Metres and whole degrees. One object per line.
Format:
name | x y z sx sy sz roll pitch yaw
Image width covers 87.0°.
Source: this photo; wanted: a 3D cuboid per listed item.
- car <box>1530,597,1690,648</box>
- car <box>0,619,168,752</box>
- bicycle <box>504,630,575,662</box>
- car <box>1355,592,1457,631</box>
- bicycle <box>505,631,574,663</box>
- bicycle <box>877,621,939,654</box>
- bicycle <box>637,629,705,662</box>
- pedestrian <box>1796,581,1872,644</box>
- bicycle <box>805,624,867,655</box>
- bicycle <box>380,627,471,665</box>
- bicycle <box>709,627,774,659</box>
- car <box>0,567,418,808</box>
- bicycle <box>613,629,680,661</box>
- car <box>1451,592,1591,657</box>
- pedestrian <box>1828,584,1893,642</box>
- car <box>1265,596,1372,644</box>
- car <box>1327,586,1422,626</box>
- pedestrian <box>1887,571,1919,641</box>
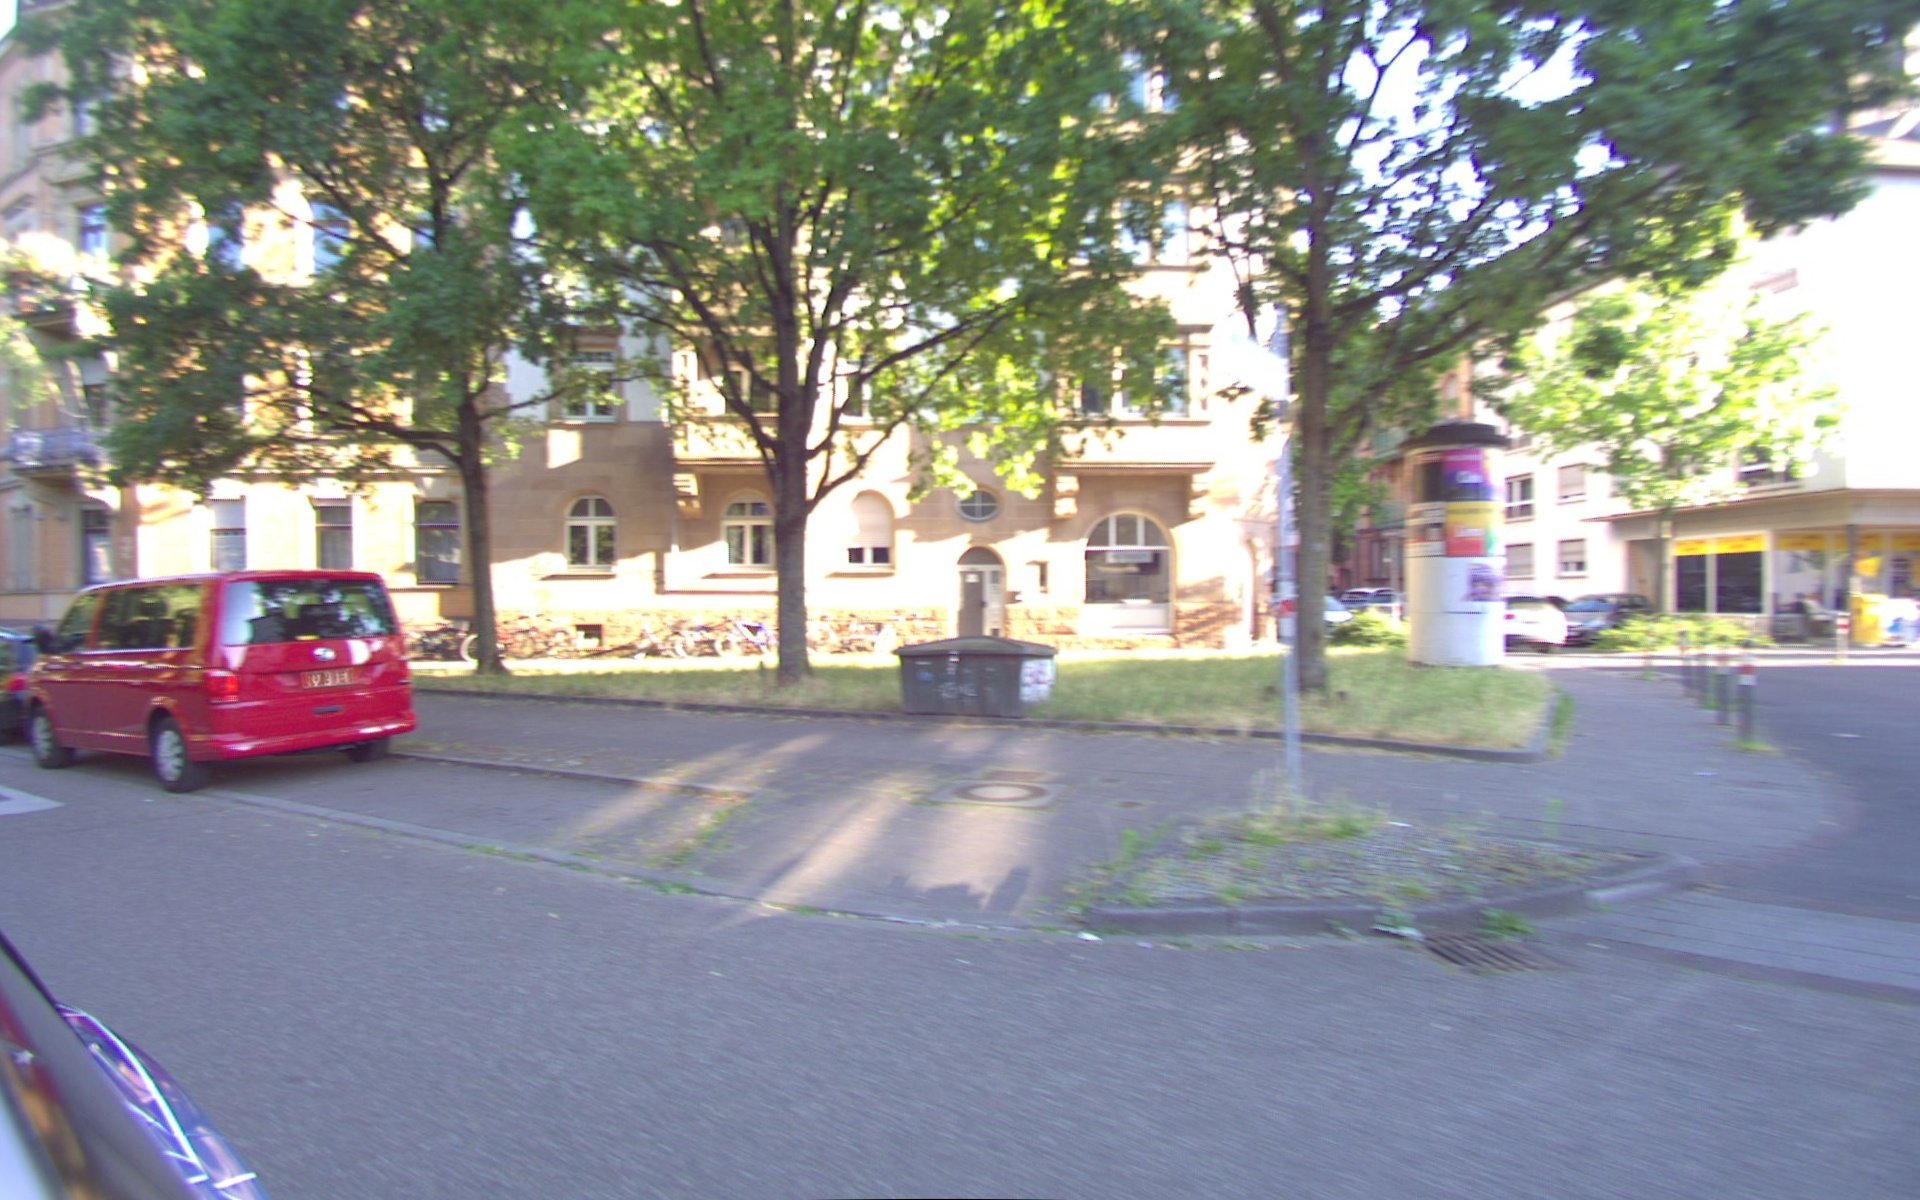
car | 18.947 0.634 29.538 3.931 1.410 1.879 0 0 -19
car | -12.512 1.035 13.421 4.255 1.444 1.763 -1 1 32
bicycle | -9.910 1.081 23.861 1.488 0.738 0.415 -1 0 -3
car | 18.159 0.440 41.176 3.932 1.516 1.879 0 -1 -31
bicycle | -10.075 1.116 24.262 1.488 0.738 0.369 -1 0 -3
bicycle | -1.271 0.906 24.672 1.488 0.737 0.369 -2 0 -3
bicycle | -6.813 1.073 23.888 1.488 0.738 0.369 -1 0 -3
pedestrian | 23.822 0.343 27.599 1.197 1.679 0.964 0 -1 -1
bicycle | -3.018 0.963 24.694 1.488 0.738 0.369 -1 0 -3
bicycle | -12.781 1.093 24.218 1.871 0.854 0.526 -1 -1 -3
bicycle | -5.246 1.042 24.358 1.488 0.738 0.369 -1 0 -3
car | -7.744 0.727 10.255 4.755 1.948 1.763 -1 1 31
bicycle | -7.507 1.083 24.238 1.488 0.738 0.369 -1 0 -3
car | 15.308 0.639 27.920 1.921 1.660 4.521 -1 0 9
pedestrian | 25.031 0.346 28.146 0.950 1.581 0.891 0 -1 -1
car | 11.097 0.601 31.621 1.847 1.410 4.001 0 0 -1
car | 18.193 0.255 44.379 3.932 1.648 1.879 0 -1 -31
pedestrian | 26.234 0.151 27.712 0.878 1.889 0.852 0 -1 -2
